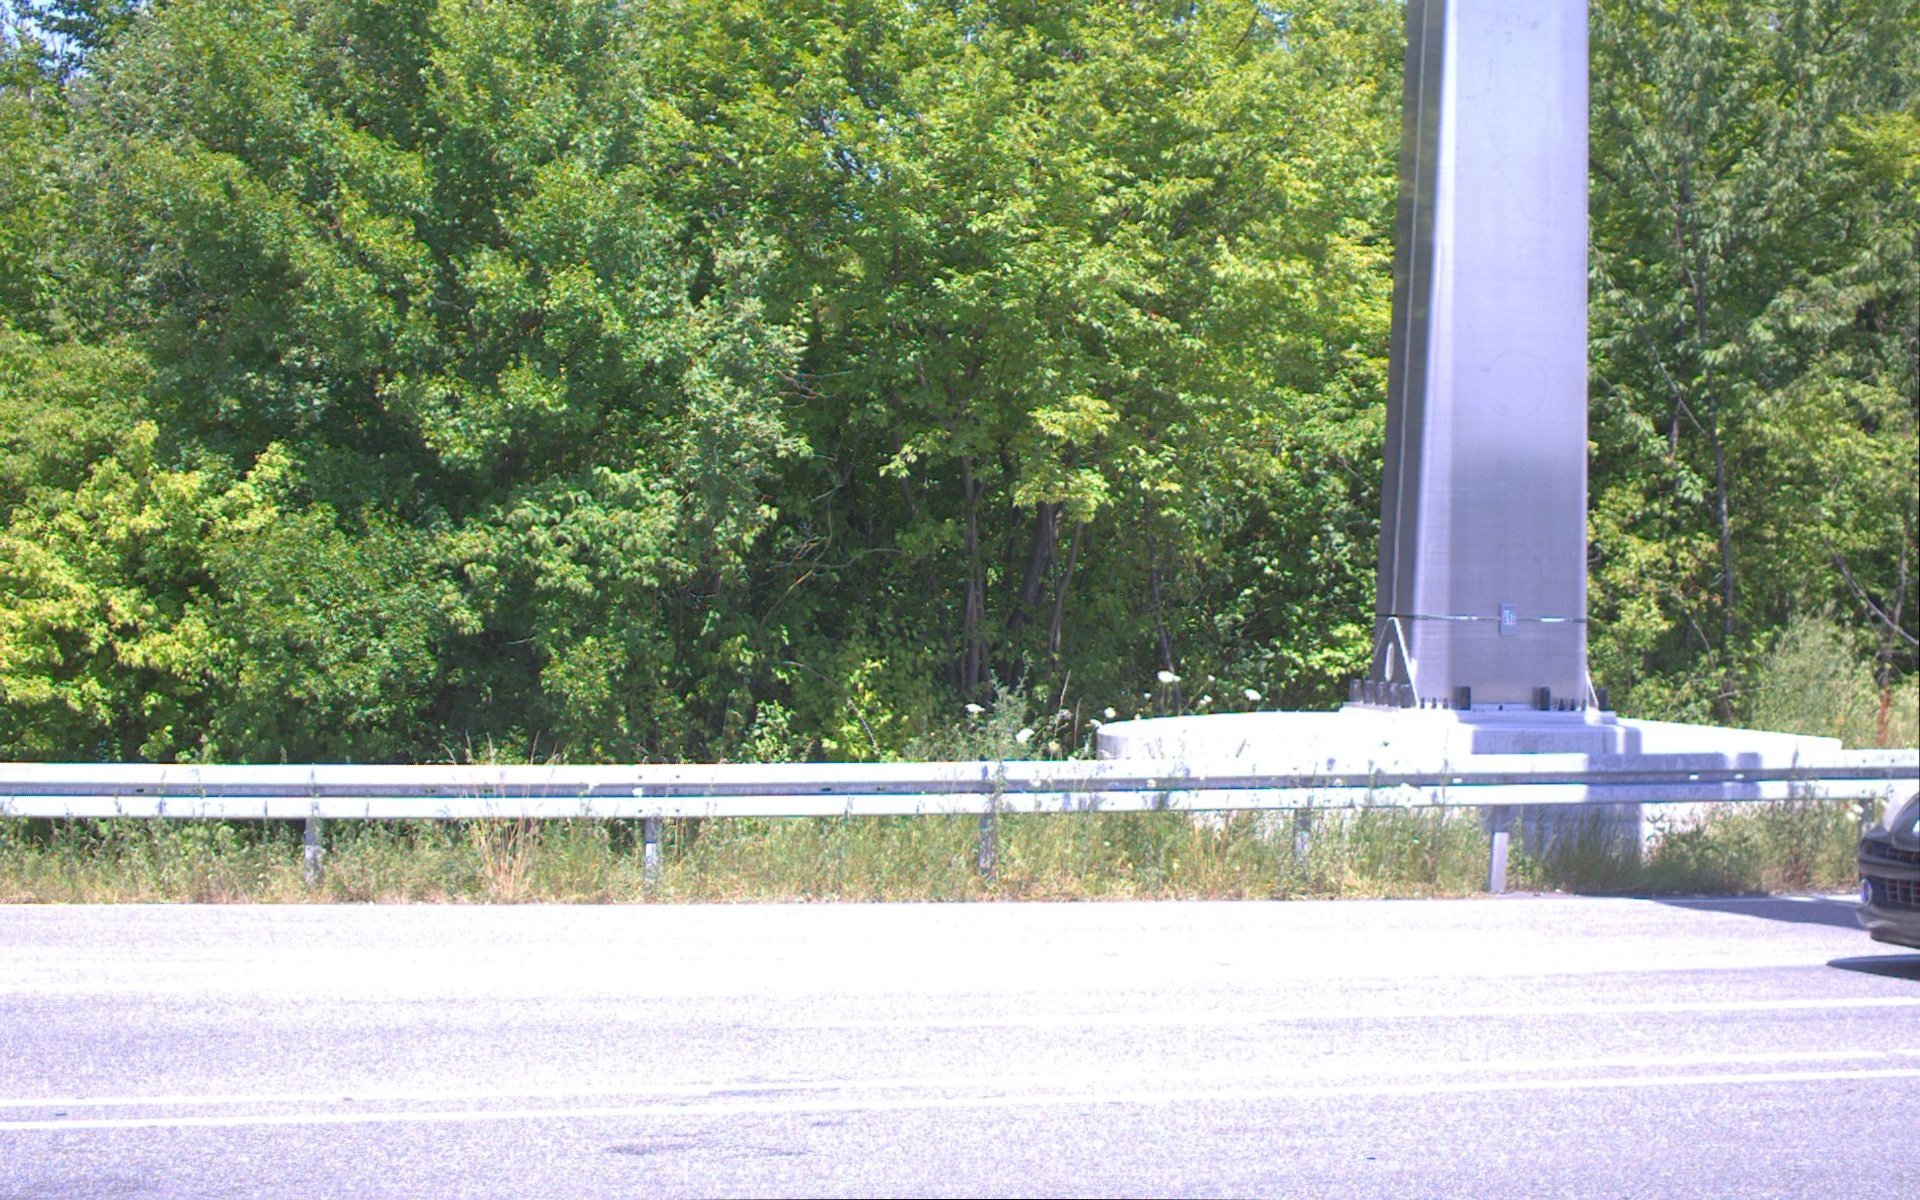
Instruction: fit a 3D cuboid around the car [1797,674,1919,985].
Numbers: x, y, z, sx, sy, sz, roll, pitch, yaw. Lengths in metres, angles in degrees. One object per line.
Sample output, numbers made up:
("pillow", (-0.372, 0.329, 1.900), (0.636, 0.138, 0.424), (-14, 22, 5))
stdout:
("car", (5.993, 1.034, 15.714), (3.954, 1.347, 1.651), (1, -2, -20))
